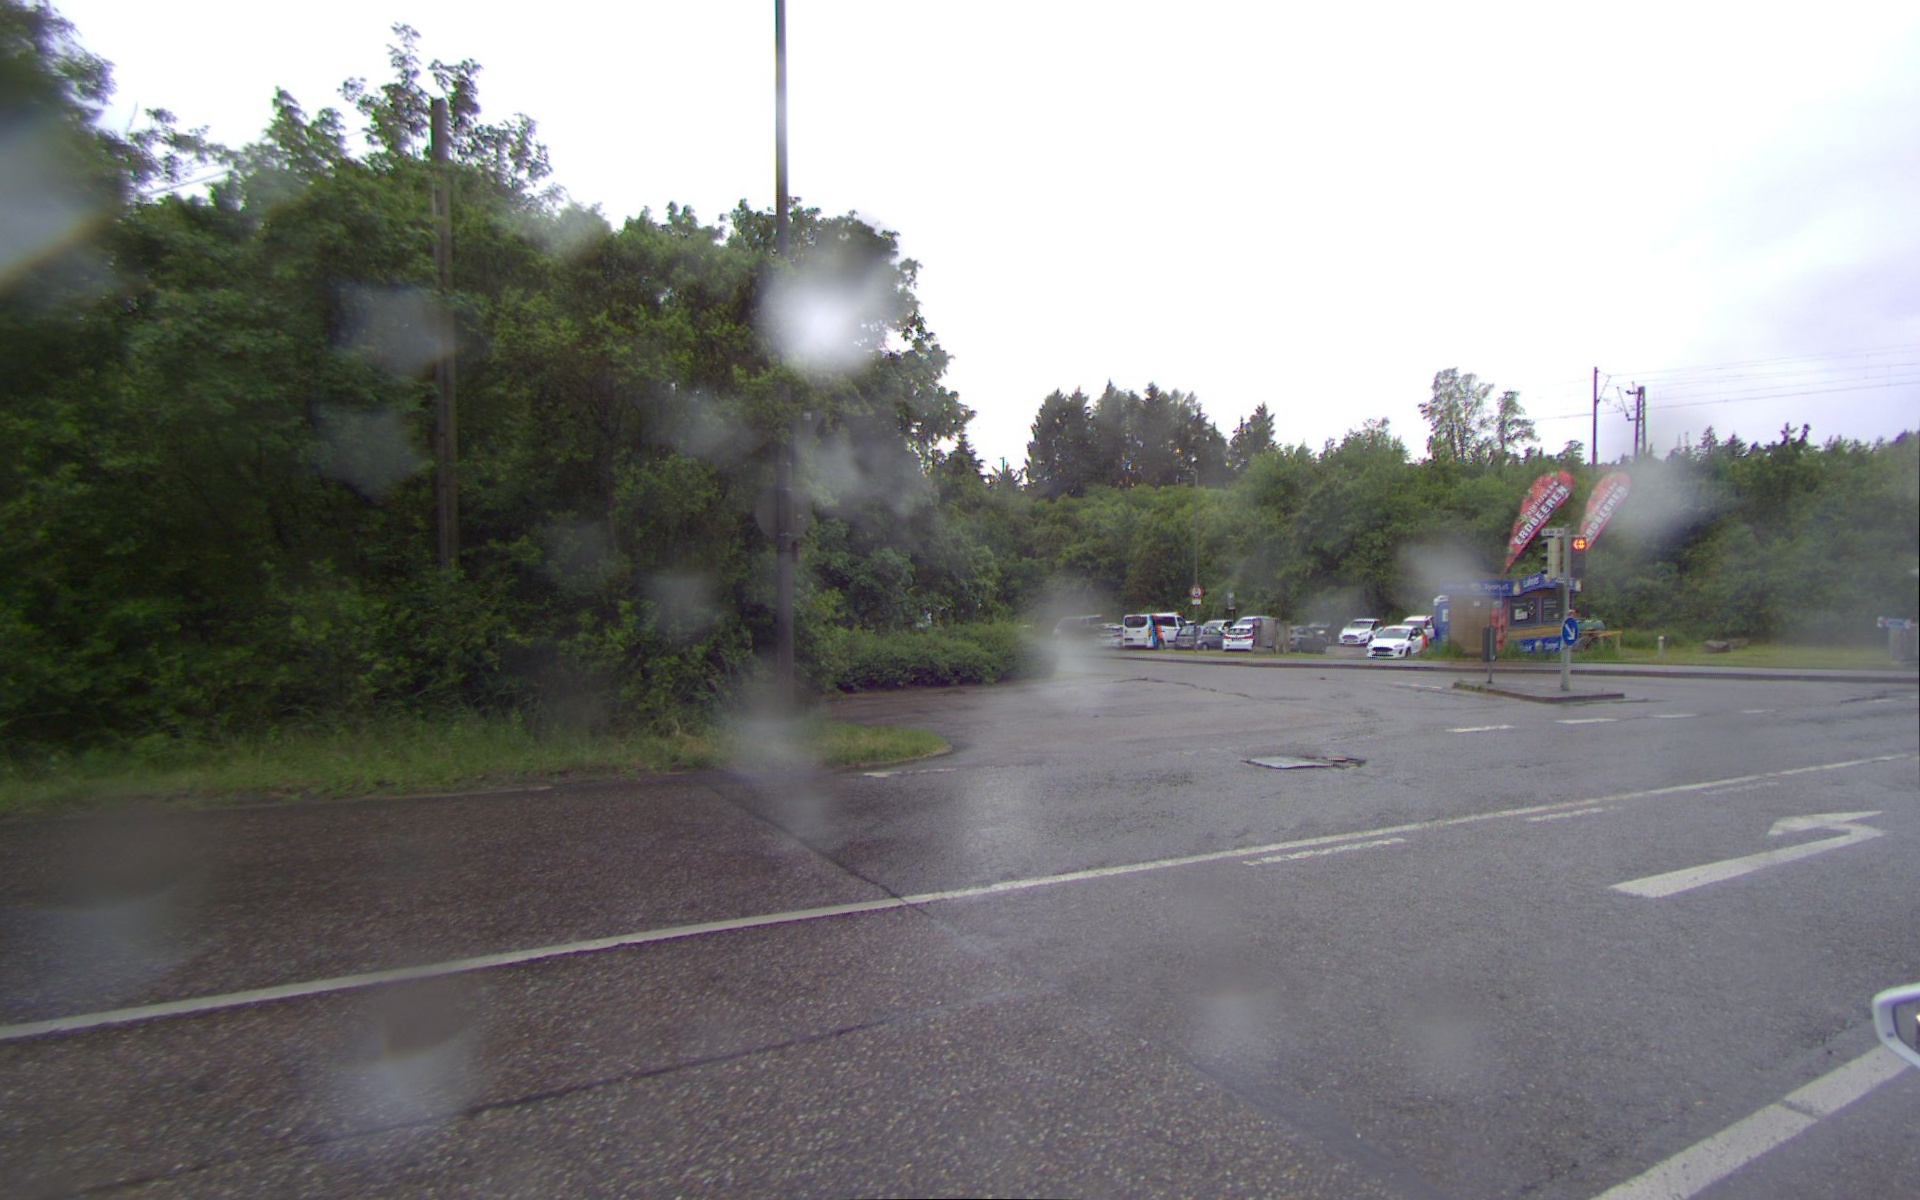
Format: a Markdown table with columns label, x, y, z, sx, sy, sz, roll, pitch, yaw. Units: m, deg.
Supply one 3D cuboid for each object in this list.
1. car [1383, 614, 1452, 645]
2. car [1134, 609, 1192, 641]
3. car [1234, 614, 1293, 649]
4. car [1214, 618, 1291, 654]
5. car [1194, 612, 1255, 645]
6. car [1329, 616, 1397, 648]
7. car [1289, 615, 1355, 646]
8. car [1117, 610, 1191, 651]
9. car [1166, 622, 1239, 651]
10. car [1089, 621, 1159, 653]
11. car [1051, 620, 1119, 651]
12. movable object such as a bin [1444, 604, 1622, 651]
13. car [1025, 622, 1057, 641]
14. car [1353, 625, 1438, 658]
| label | x | y | z | sx | sy | sz | roll | pitch | yaw |
| --- | --- | --- | --- | --- | --- | --- | --- | --- | --- |
| car | 24.405 | 1.571 | 53.531 | 3.972 | 1.606 | 1.975 | 2 | -2 | -43 |
| car | 13.418 | 1.654 | 66.289 | 1.972 | 2.040 | 3.976 | 1 | -1 | 44 |
| car | 18.474 | 1.907 | 61.070 | 1.916 | 2.040 | 3.846 | 1 | 0 | 43 |
| car | 14.467 | 1.787 | 49.600 | 3.880 | 1.606 | 1.918 | 3 | -1 | -43 |
| car | 16.605 | 1.779 | 62.952 | 3.973 | 2.040 | 1.974 | 2 | -2 | -44 |
| car | 22.258 | 1.770 | 55.465 | 3.972 | 1.606 | 1.975 | 3 | -1 | -43 |
| car | 20.751 | 1.749 | 57.523 | 3.972 | 1.606 | 1.975 | 3 | -1 | -43 |
| car | 10.168 | 1.602 | 52.559 | 1.971 | 1.974 | 3.978 | 1 | -1 | 42 |
| car | 12.428 | 1.878 | 51.309 | 3.972 | 1.327 | 1.734 | 3 | -1 | -43 |
| car | 8.945 | 2.043 | 54.496 | 1.834 | 1.606 | 3.978 | 1 | -1 | 42 |
| car | 7.031 | 2.023 | 56.393 | 1.813 | 1.606 | 3.978 | 1 | -1 | 42 |
| movable object such as a bin | 23.203 | 1.117 | 40.958 | 5.663 | 1.649 | 2.753 | 2 | -1 | 10 |
| car | 5.771 | 2.232 | 71.294 | 1.609 | 1.248 | 4.003 | 2 | -1 | 14 |
| car | 19.404 | 1.858 | 44.631 | 4.869 | 1.358 | 1.636 | 3 | -1 | -43 |
